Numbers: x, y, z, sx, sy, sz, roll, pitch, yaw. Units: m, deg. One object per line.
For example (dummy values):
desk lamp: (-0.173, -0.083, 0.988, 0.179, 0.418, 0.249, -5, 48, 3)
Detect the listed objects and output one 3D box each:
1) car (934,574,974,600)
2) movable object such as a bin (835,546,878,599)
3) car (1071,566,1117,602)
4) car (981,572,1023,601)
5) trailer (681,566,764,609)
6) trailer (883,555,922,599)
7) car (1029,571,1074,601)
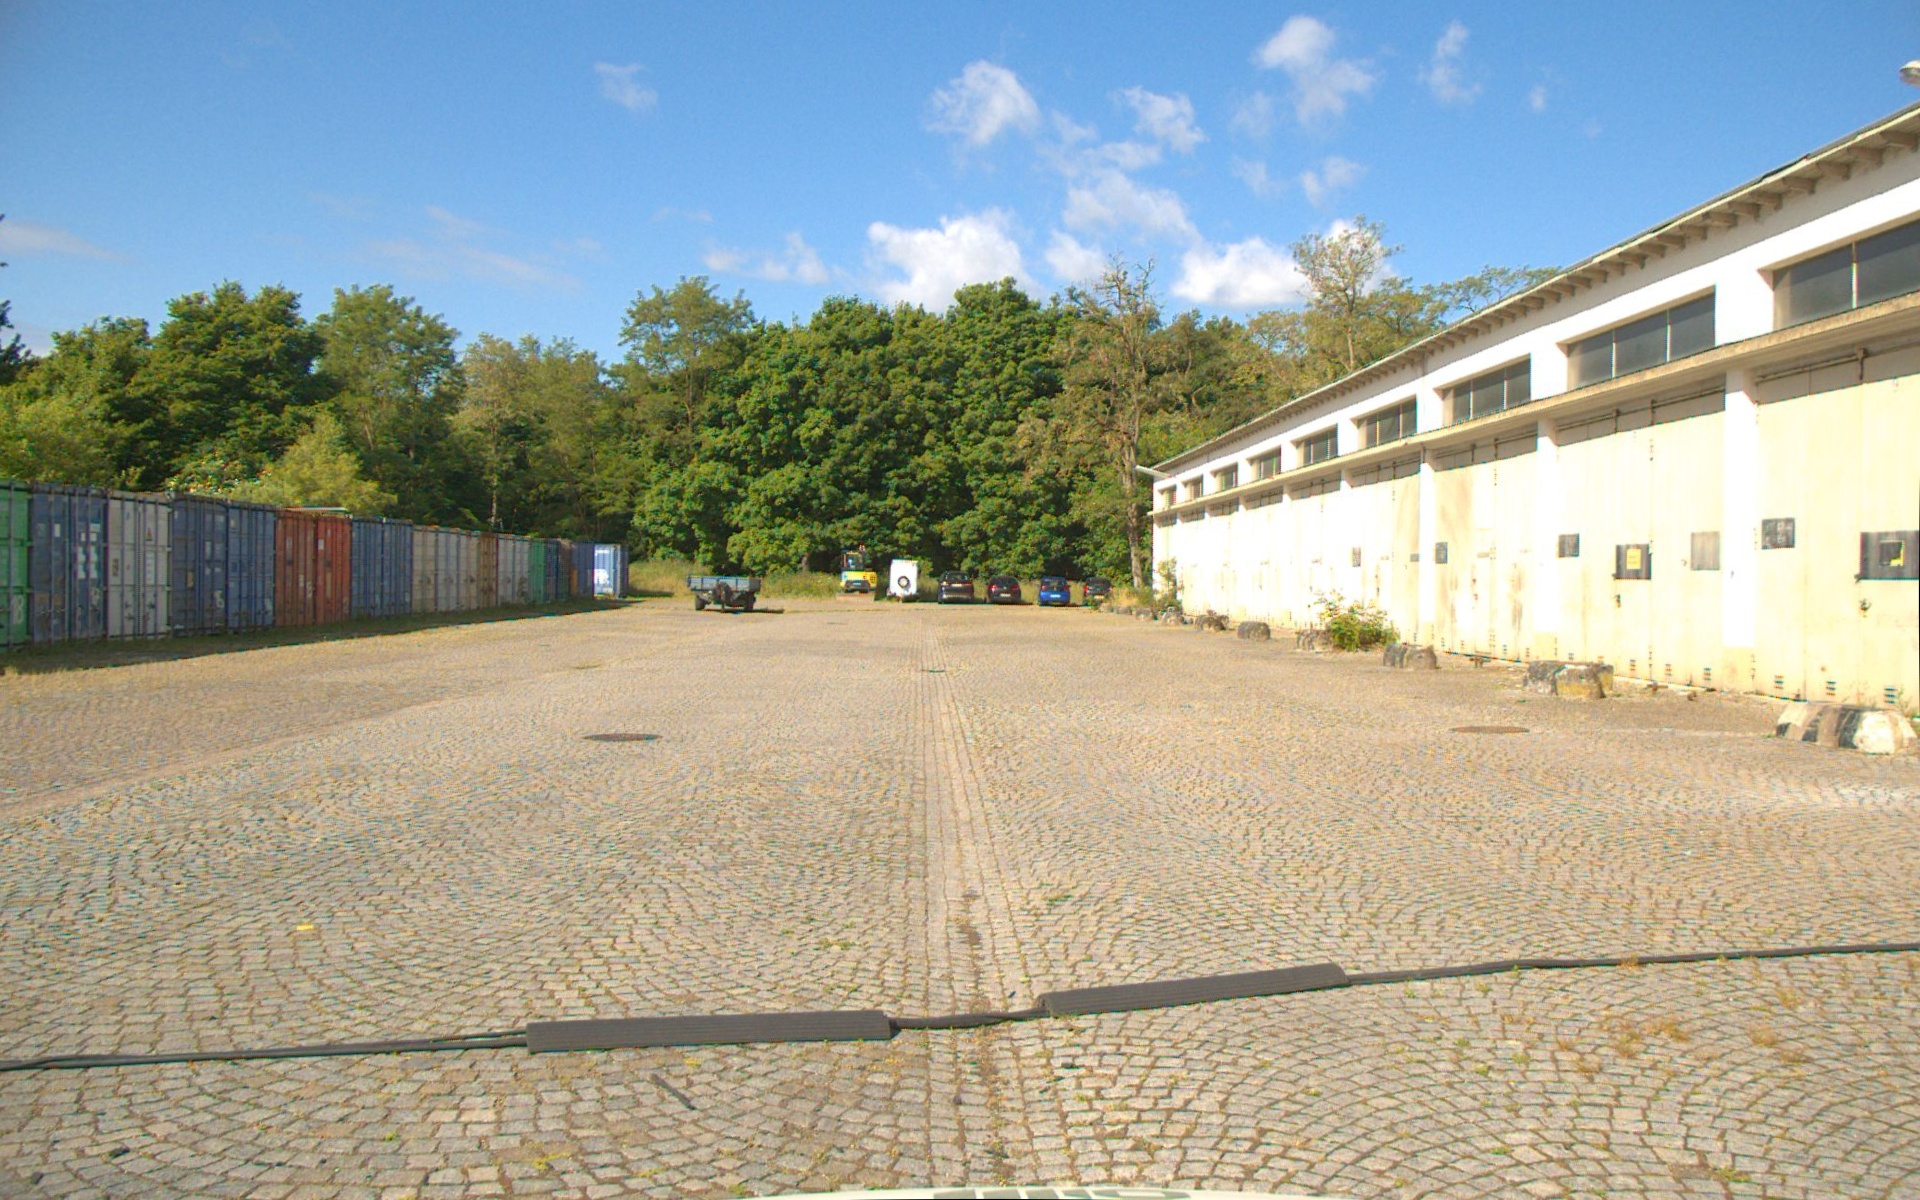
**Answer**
car: (-0.332, -0.690, 84.399, 1.953, 1.280, 3.999, 0, 1, -2)
movable object such as a bin: (-5.407, -1.445, 86.226, 2.188, 2.703, 3.997, 0, 1, -4)
car: (6.956, -0.850, 86.230, 1.953, 1.803, 3.999, 0, 1, -2)
car: (2.135, -0.704, 84.849, 1.953, 1.449, 3.999, 0, 1, -2)
trailer: (-9.509, -0.526, 66.791, 2.735, 1.675, 5.618, 0, 1, -2)
trailer: (-2.976, -1.211, 85.546, 1.953, 2.200, 4.430, 0, 1, -2)
car: (4.674, -0.725, 84.916, 1.953, 1.491, 3.999, 0, 1, -2)
